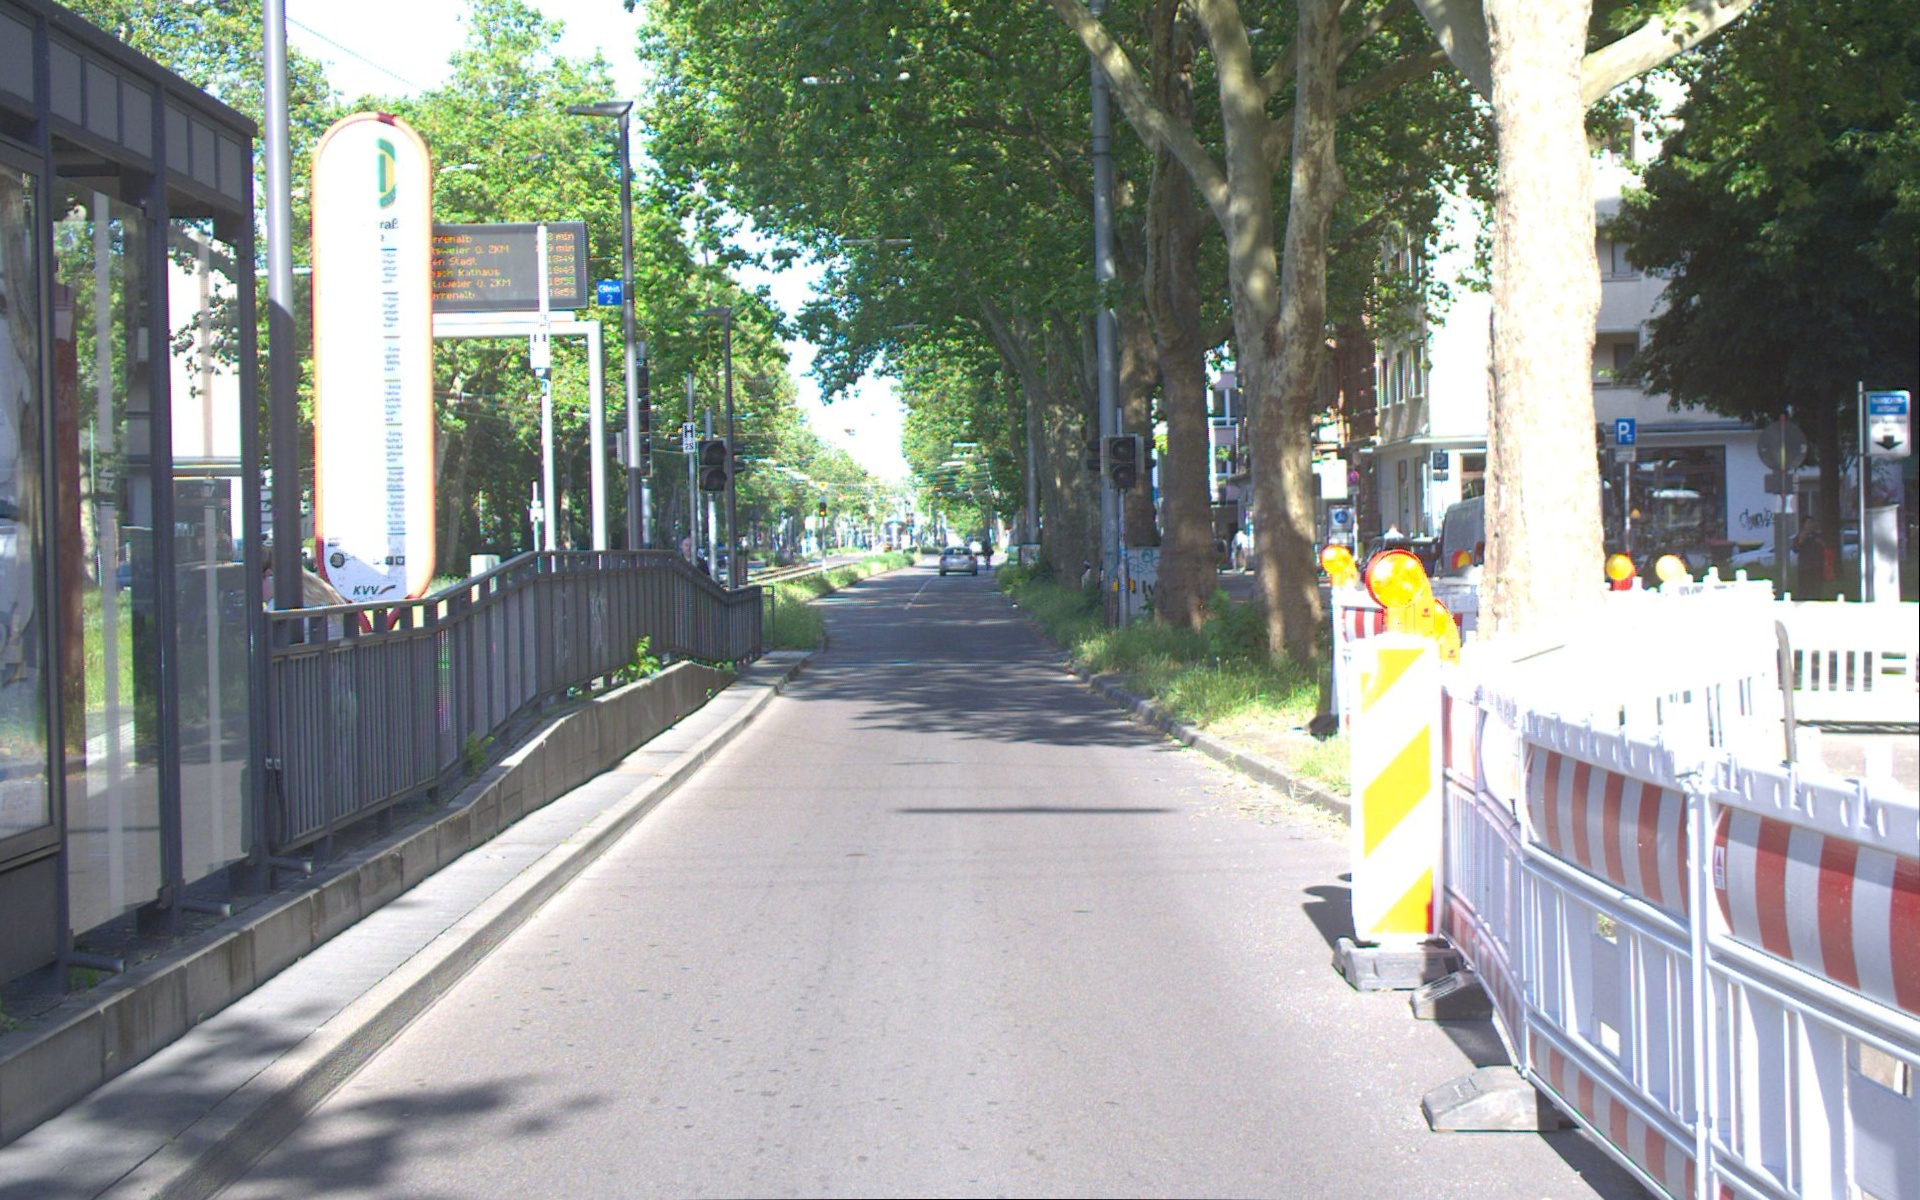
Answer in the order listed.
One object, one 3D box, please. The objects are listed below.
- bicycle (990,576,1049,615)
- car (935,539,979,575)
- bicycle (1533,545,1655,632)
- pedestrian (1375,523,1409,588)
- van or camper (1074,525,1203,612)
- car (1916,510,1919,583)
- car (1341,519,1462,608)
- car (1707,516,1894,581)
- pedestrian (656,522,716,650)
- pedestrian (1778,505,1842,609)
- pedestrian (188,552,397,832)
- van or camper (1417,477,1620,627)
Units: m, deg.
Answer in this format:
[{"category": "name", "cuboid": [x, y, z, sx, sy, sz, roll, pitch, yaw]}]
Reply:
[{"category": "bicycle", "cuboid": [1.665, -0.127, 95.539, 1.594, 1.055, 0.404, -1, 1, 7]}, {"category": "car", "cuboid": [-0.146, -2.054, 163.810, 2.021, 1.656, 4.000, -1, 1, 0]}, {"category": "bicycle", "cuboid": [9.530, -0.183, 51.718, 1.603, 1.259, 0.963, -1, 1, -4]}, {"category": "pedestrian", "cuboid": [11.544, -1.185, 91.862, 0.795, 1.698, 0.724, -1, 1, 0]}, {"category": "van or camper", "cuboid": [3.324, -0.599, 64.388, 1.500, 1.582, 2.841, -1, 1, -17]}, {"category": "car", "cuboid": [22.497, -1.226, 76.980, 1.995, 1.622, 4.387, -1, 1, 15]}, {"category": "car", "cuboid": [9.101, -0.772, 71.247, 1.819, 1.736, 5.168, -1, 1, 0]}, {"category": "car", "cuboid": [21.607, -1.333, 88.308, 4.589, 1.575, 1.999, -1, 1, 15]}, {"category": "pedestrian", "cuboid": [-3.620, -0.190, 45.485, 0.712, 1.674, 0.772, -1, 1, -1]}, {"category": "pedestrian", "cuboid": [13.390, -0.677, 54.195, 0.732, 1.611, 1.035, -1, 1, 0]}, {"category": "pedestrian", "cuboid": [-2.895, 0.384, 14.973, 0.752, 1.175, 0.813, 0, 1, -1]}, {"category": "van or camper", "cuboid": [8.961, -0.785, 55.706, 2.291, 2.279, 5.823, -1, 1, 0]}]
